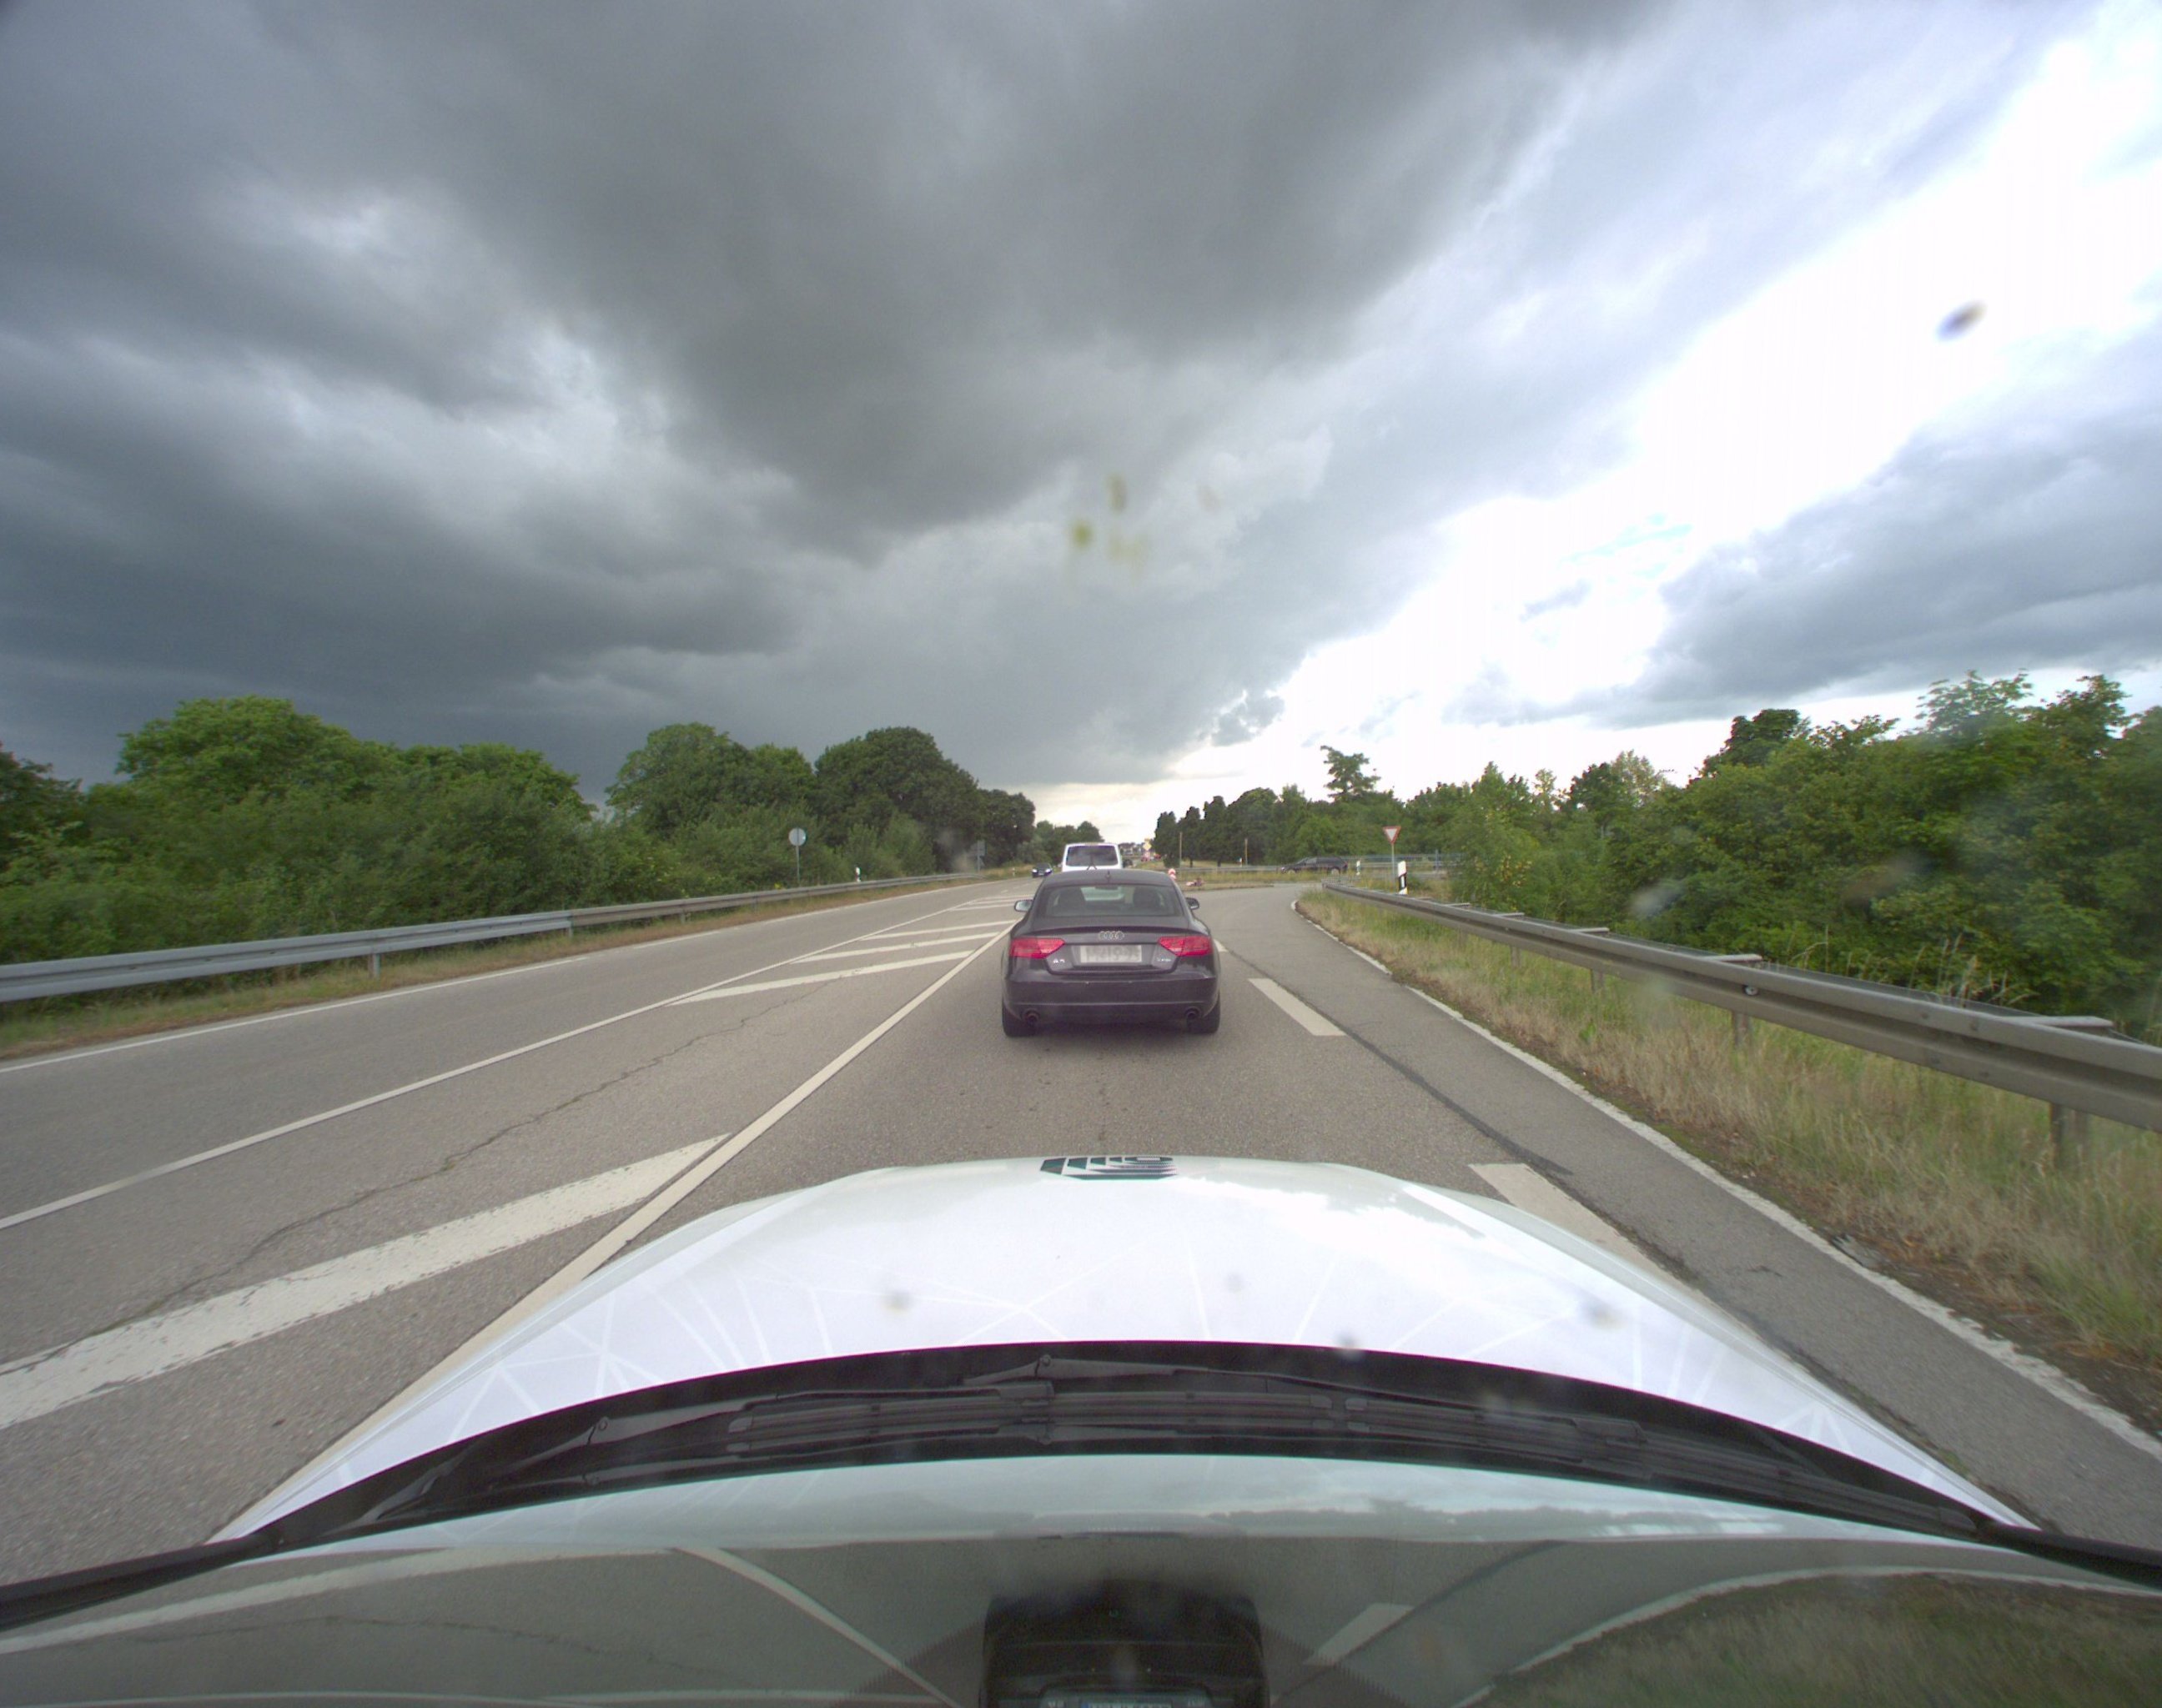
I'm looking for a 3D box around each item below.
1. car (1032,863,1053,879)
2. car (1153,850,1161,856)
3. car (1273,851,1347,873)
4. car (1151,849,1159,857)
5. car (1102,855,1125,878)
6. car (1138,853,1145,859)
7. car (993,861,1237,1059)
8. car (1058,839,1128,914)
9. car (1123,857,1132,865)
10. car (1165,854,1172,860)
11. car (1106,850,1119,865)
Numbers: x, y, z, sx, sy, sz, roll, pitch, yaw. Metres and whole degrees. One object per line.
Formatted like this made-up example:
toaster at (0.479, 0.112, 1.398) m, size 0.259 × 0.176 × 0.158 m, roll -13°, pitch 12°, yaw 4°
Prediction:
car at (-3.777, 1.662, 80.467) m, size 1.790 × 1.398 × 3.486 m, roll -1°, pitch 0°, yaw 3°
car at (21.837, -0.343, 234.000) m, size 1.985 × 1.692 × 4.004 m, roll -1°, pitch 0°, yaw 4°
car at (14.989, 0.527, 53.275) m, size 4.528 × 1.333 × 1.710 m, roll -1°, pitch 0°, yaw 18°
car at (19.570, -0.352, 215.257) m, size 1.985 × 2.013 × 4.004 m, roll -1°, pitch 0°, yaw 3°
car at (3.097, 1.133, 76.474) m, size 2.073 × 2.064 × 4.879 m, roll -1°, pitch 0°, yaw 2°
car at (18.146, 0.718, 244.688) m, size 1.985 × 1.692 × 4.004 m, roll -1°, pitch 0°, yaw 4°
car at (0.273, 0.799, 7.680) m, size 1.773 × 1.398 × 3.336 m, roll -1°, pitch 0°, yaw 1°
car at (0.362, 0.606, 24.338) m, size 1.904 × 2.013 × 4.001 m, roll -1°, pitch 0°, yaw 1°
car at (10.673, 1.552, 186.914) m, size 1.984 × 1.692 × 4.005 m, roll -1°, pitch 0°, yaw 5°
car at (24.445, 0.748, 227.012) m, size 1.865 × 1.692 × 4.008 m, roll -1°, pitch 0°, yaw 7°
car at (5.204, 0.504, 134.010) m, size 1.985 × 2.408 × 4.003 m, roll 0°, pitch 0°, yaw 3°
